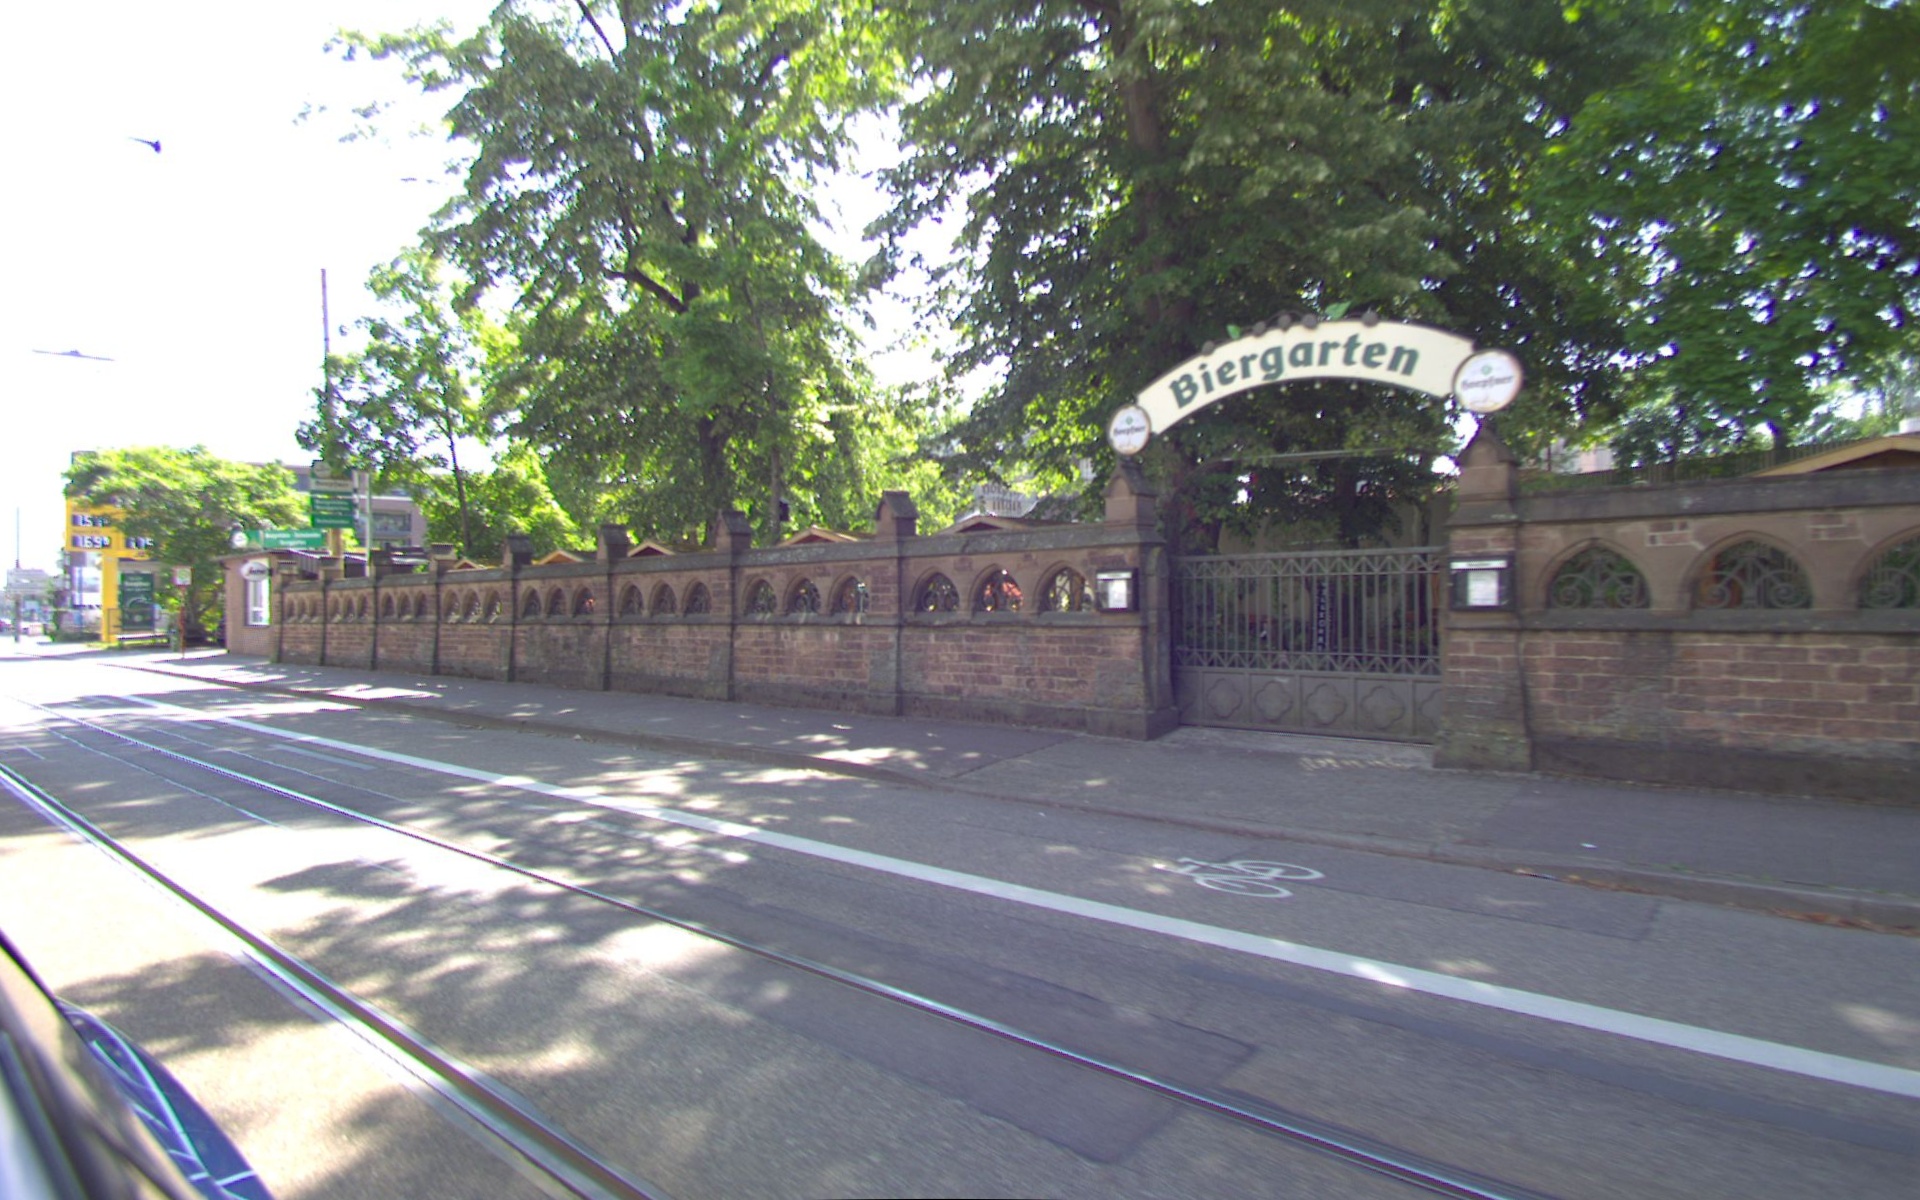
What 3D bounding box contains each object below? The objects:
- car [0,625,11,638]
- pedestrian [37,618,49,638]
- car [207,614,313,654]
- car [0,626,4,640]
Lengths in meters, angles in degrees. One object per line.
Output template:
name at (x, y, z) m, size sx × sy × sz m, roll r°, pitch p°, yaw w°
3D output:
car at (-123.416, 4.071, 130.253) m, size 1.691 × 1.634 × 3.583 m, roll -1°, pitch -1°, yaw -42°
pedestrian at (-87.720, 2.690, 96.815) m, size 0.834 × 1.833 × 0.840 m, roll 0°, pitch -1°, yaw -42°
car at (-30.971, 1.452, 44.949) m, size 1.920 × 1.637 × 4.584 m, roll -1°, pitch -1°, yaw -5°
car at (-116.101, 4.008, 121.508) m, size 1.779 × 1.742 × 4.194 m, roll -2°, pitch 0°, yaw -42°
